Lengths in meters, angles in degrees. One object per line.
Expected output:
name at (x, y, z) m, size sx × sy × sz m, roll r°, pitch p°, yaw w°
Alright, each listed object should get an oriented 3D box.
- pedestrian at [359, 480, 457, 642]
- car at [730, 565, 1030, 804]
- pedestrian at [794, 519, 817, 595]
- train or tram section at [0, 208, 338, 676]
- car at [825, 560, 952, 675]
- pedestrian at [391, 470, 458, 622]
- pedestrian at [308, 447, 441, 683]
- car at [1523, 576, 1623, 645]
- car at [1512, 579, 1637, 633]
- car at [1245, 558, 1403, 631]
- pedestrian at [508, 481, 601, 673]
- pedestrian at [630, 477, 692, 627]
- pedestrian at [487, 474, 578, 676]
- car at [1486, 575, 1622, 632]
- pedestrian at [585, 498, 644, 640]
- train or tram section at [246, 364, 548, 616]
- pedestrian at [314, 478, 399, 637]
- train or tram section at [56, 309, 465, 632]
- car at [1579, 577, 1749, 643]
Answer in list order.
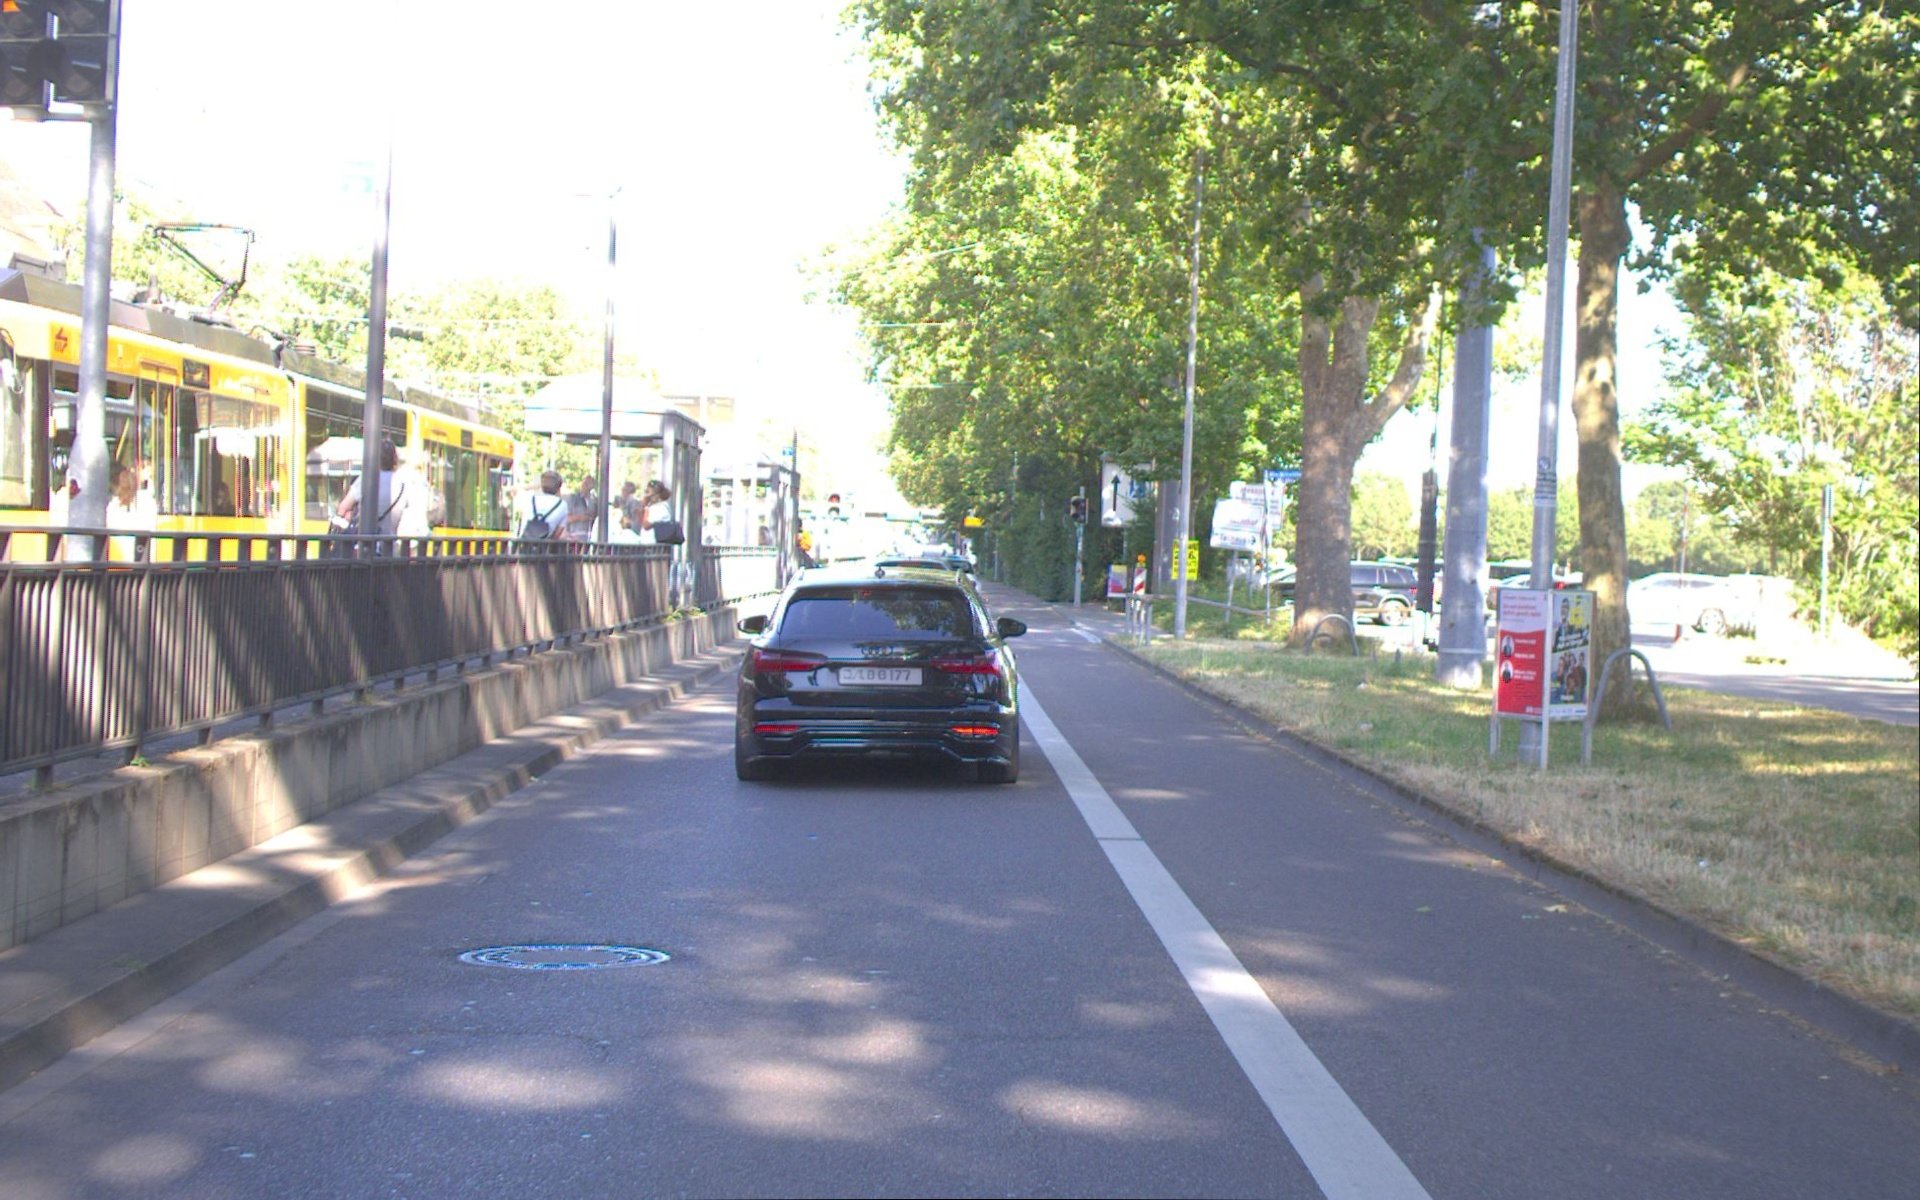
pedestrian at (-6.223, -0.442, 38.753) m, size 0.793 × 1.778 × 0.649 m, roll 2°, pitch 1°, yaw -40°
car at (-0.588, 0.521, 23.497) m, size 1.878 × 1.452 × 3.357 m, roll 1°, pitch 1°, yaw -3°
pedestrian at (-3.533, -0.987, 78.576) m, size 0.412 × 1.711 × 0.666 m, roll 3°, pitch 1°, yaw -1°
train or tram section at (-9.314, -1.453, 35.187) m, size 3.309 × 3.816 × 14.220 m, roll 3°, pitch 1°, yaw -1°
car at (-1.133, 0.235, 52.801) m, size 1.762 × 1.614 × 4.001 m, roll 3°, pitch 1°, yaw -3°
pedestrian at (-6.400, -0.643, 41.111) m, size 0.611 × 1.778 × 0.775 m, roll 3°, pitch 1°, yaw 0°
pedestrian at (-3.960, -0.236, 23.276) m, size 0.614 × 1.543 × 0.724 m, roll 3°, pitch 1°, yaw 10°
car at (14.470, 0.224, 81.279) m, size 1.614 × 1.510 × 3.803 m, roll 3°, pitch 1°, yaw 0°
car at (20.589, 0.192, 115.231) m, size 3.812 × 1.603 × 1.670 m, roll 3°, pitch 1°, yaw 0°
car at (9.751, -0.154, 92.390) m, size 3.987 × 1.758 × 1.833 m, roll 3°, pitch 0°, yaw 1°
pedestrian at (-3.539, -0.202, 29.981) m, size 0.611 × 1.636 × 0.614 m, roll 3°, pitch 1°, yaw -20°
pedestrian at (-3.609, -0.578, 41.514) m, size 0.611 × 1.778 × 0.613 m, roll 3°, pitch 1°, yaw 0°
pedestrian at (-3.617, -0.213, 29.119) m, size 0.611 × 1.663 × 0.613 m, roll 3°, pitch 1°, yaw 1°
car at (21.325, 0.125, 123.507) m, size 4.351 × 1.809 × 2.000 m, roll 3°, pitch 1°, yaw -4°
pedestrian at (-4.429, -0.403, 44.116) m, size 0.610 × 1.778 × 0.681 m, roll 3°, pitch 1°, yaw 0°
train or tram section at (-9.584, -1.814, 60.139) m, size 3.309 × 3.816 × 11.844 m, roll 3°, pitch 1°, yaw -1°
pedestrian at (-6.948, -0.488, 39.587) m, size 0.793 × 1.778 × 0.625 m, roll 3°, pitch 1°, yaw 0°
train or tram section at (-9.471, -1.665, 48.293) m, size 3.309 × 3.816 × 11.844 m, roll 3°, pitch 1°, yaw -1°
car at (20.101, 0.277, 98.332) m, size 4.459 × 1.653 × 1.917 m, roll 3°, pitch 1°, yaw 4°
